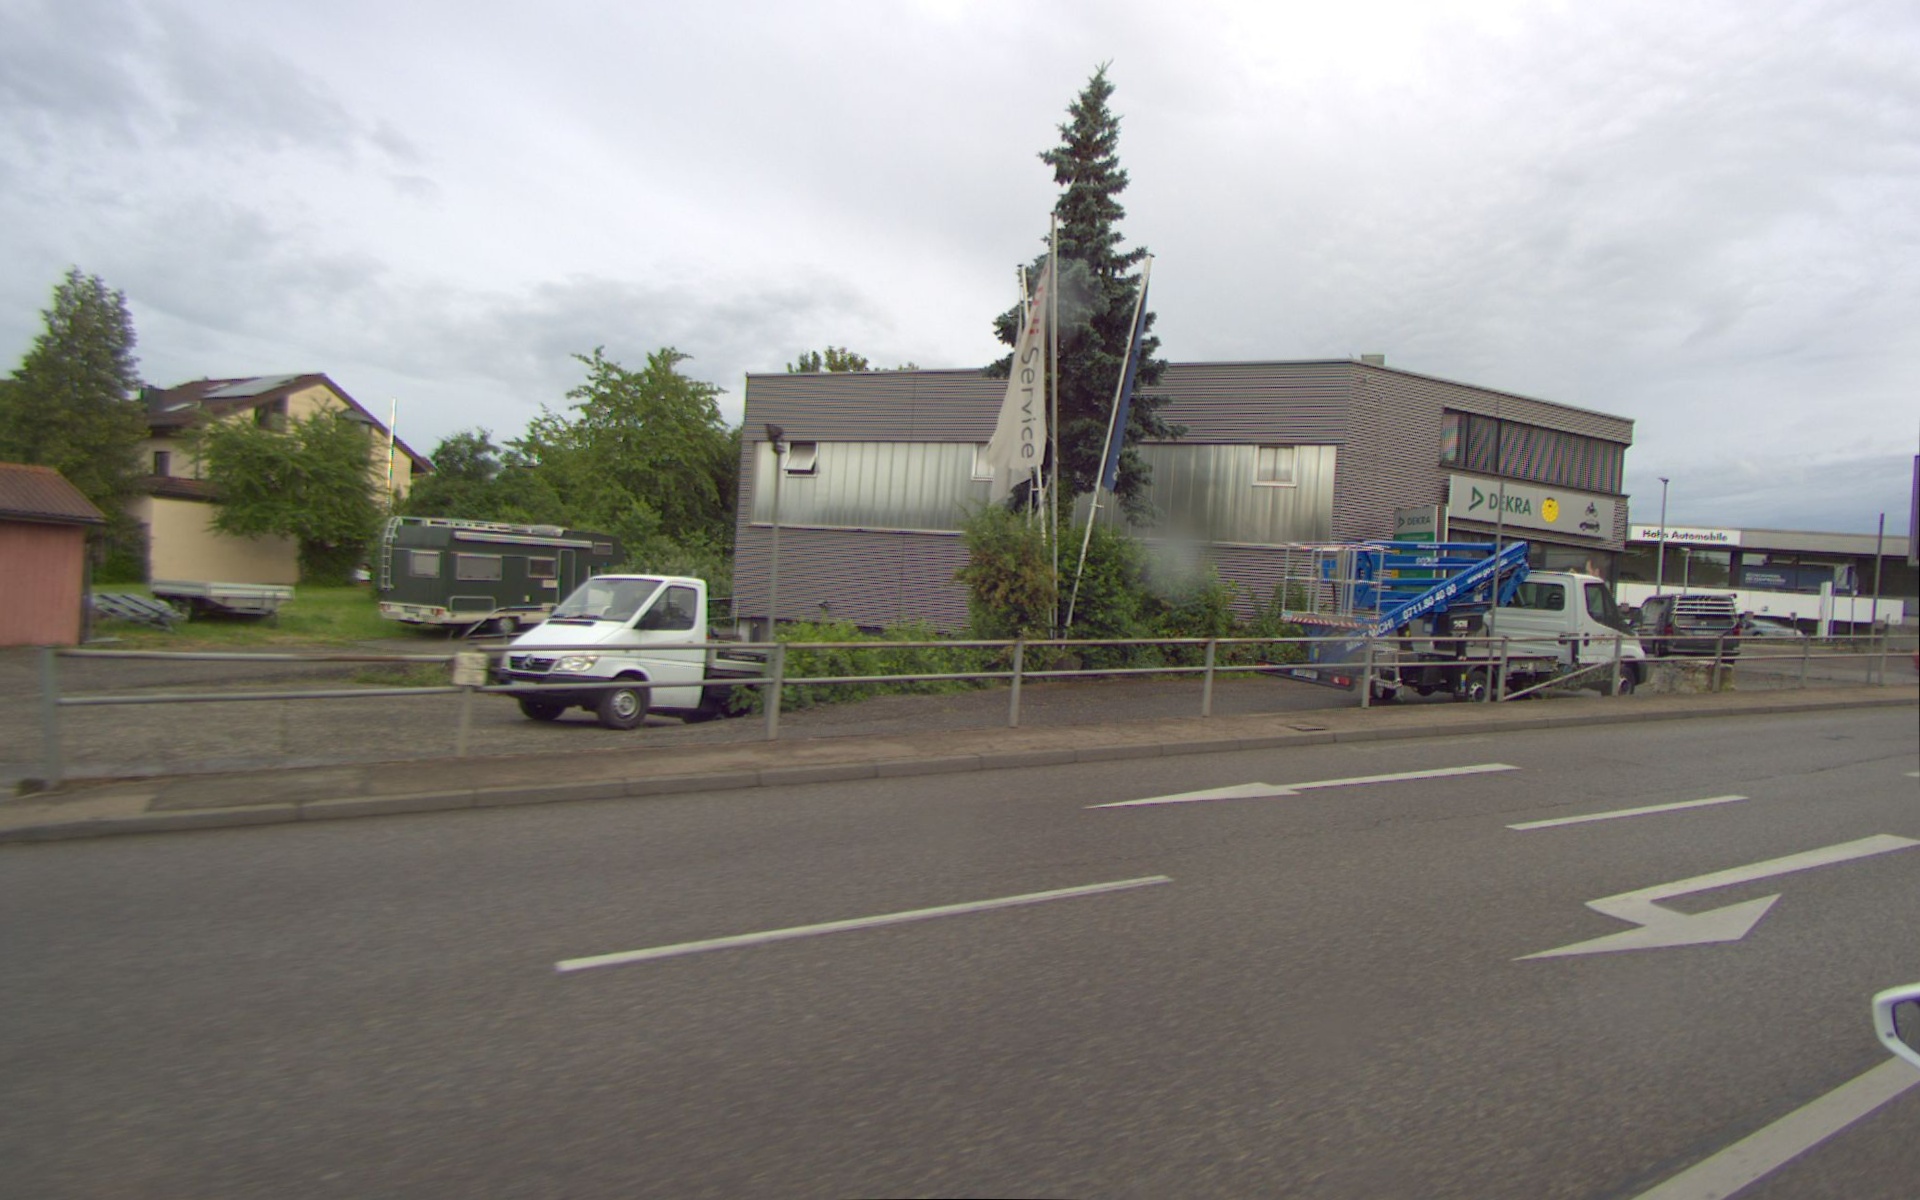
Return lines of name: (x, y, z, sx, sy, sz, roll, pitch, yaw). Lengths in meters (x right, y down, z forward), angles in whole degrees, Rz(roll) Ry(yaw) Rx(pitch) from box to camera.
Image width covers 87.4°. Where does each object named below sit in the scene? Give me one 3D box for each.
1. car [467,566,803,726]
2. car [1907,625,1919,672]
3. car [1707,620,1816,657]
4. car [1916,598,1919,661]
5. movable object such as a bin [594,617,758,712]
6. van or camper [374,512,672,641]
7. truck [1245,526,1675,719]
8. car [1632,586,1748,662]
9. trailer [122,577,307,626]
car: (-4.446, 0.556, 14.388, 2.028, 1.896, 4.272, 2, 1, 31)
car: (28.231, 1.395, 26.784, 1.752, 1.284, 4.065, 1, 1, -35)
car: (36.922, 1.760, 46.401, 1.852, 1.447, 4.106, 1, 1, 3)
car: (30.760, 0.958, 28.438, 1.802, 1.895, 5.041, 1, 1, -30)
movable object such as a bin: (-6.762, 1.515, 24.367, 1.631, 2.040, 4.000, 2, -2, 22)
van or camper: (-11.883, -0.682, 28.377, 2.430, 2.934, 8.112, 7, 4, 23)
truck: (8.360, 0.294, 16.459, 7.787, 2.668, 1.987, 0, 1, -26)
car: (21.749, 0.643, 30.143, 1.963, 2.014, 4.871, 3, 1, 27)
trailer: (-18.874, 0.027, 25.388, 4.786, 1.042, 2.097, 2, 0, 31)
